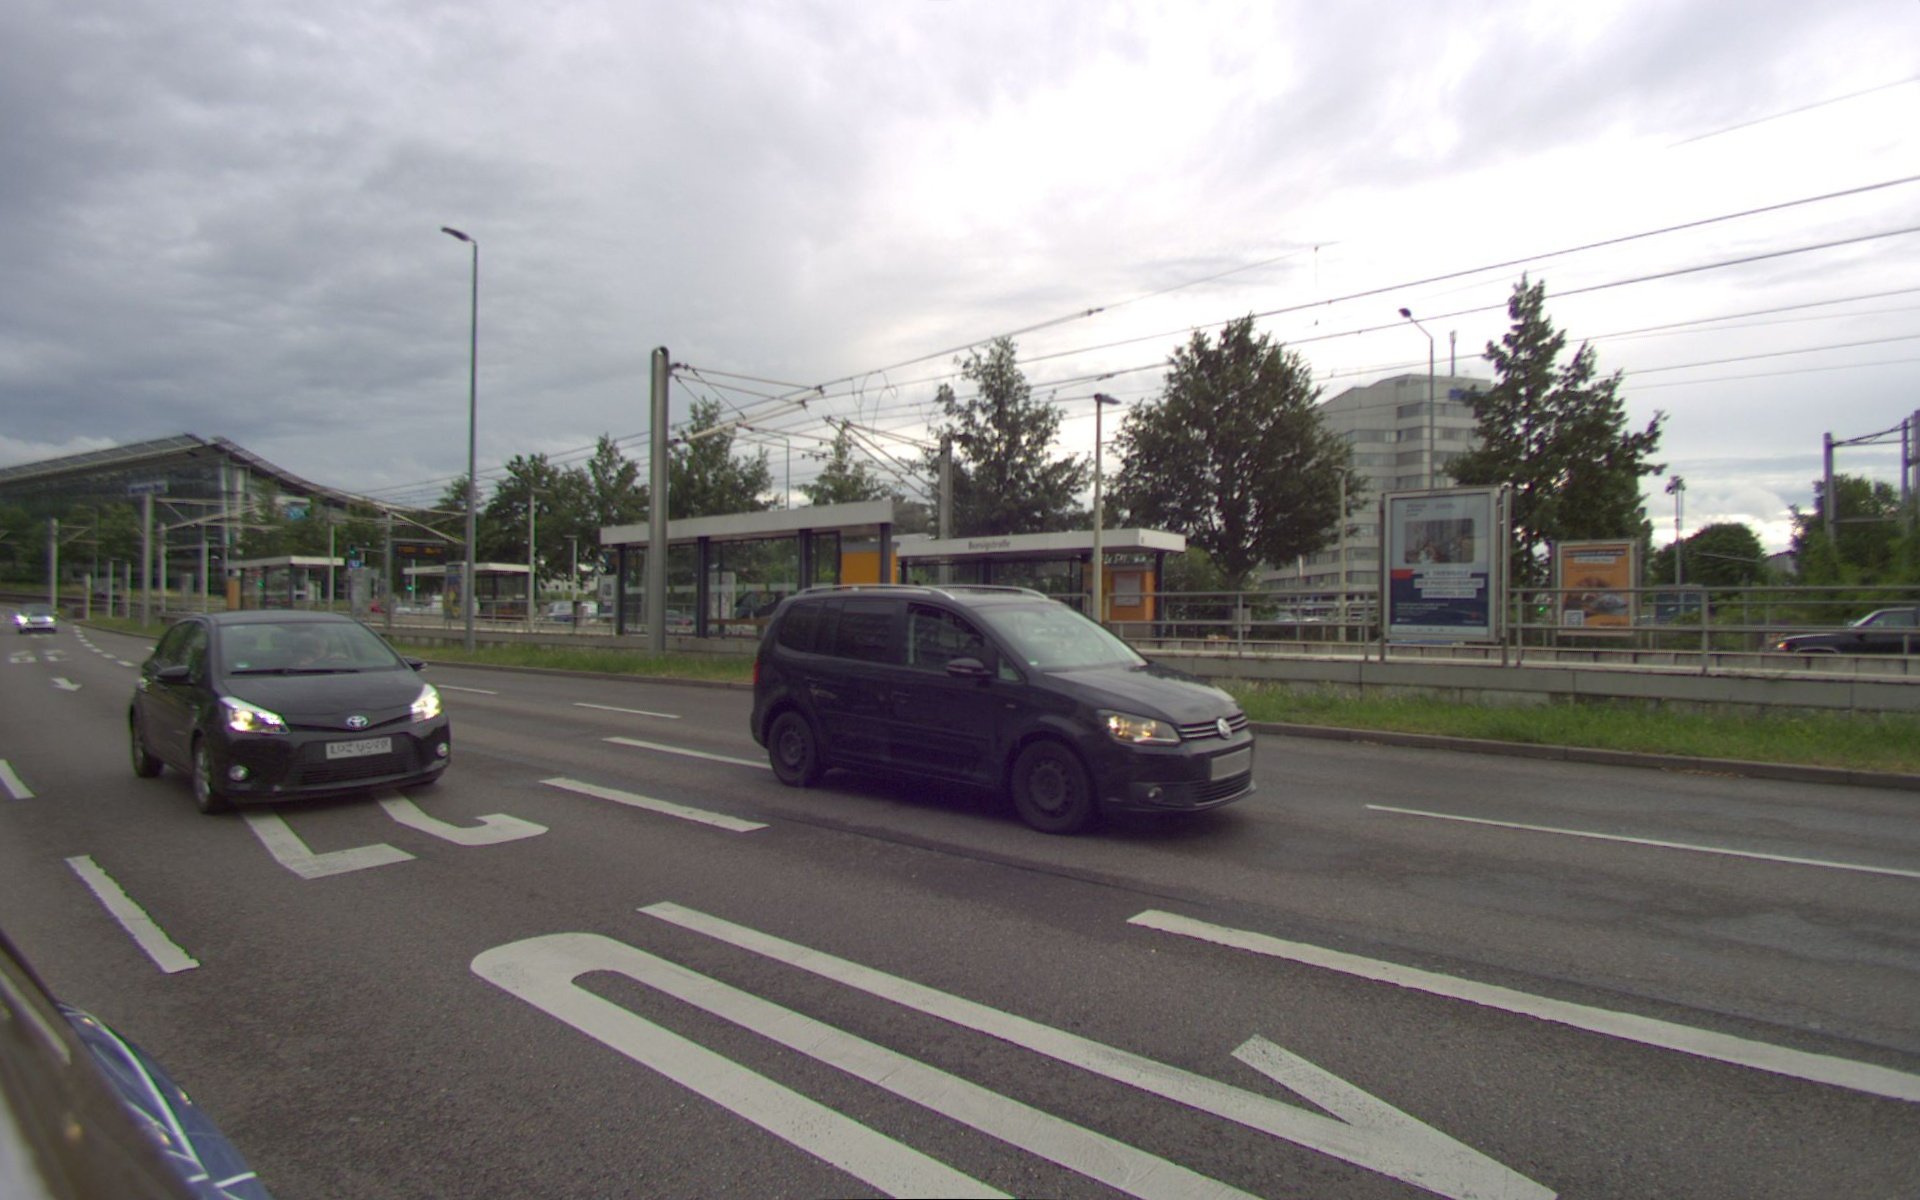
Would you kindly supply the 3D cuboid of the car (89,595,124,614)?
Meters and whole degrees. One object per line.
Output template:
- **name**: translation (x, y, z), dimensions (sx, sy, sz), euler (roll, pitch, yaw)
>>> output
- **car**: translation (-89.969, 0.465, 106.674), dimensions (3.995, 1.861, 1.975), euler (0, 1, 38)

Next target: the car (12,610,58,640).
- **car**: translation (-49.168, 1.321, 53.766), dimensions (1.715, 1.489, 4.003), euler (-1, 0, -44)

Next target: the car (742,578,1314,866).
- **car**: translation (0.304, 0.682, 7.715), dimensions (4.192, 1.604, 1.708), euler (0, 1, 42)

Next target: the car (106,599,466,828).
- **car**: translation (-5.937, 0.819, 8.732), dimensions (3.903, 1.534, 1.675), euler (-2, -2, 42)

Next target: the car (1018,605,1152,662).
- **car**: translation (4.057, 1.036, 33.261), dimensions (4.266, 1.679, 1.512), euler (0, 1, 41)

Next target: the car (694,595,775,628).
- **car**: translation (-12.625, 0.609, 56.468), dimensions (4.665, 1.712, 2.082), euler (0, 1, 42)

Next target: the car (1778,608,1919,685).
- **car**: translation (20.426, 0.981, 21.327), dimensions (4.929, 1.509, 1.660), euler (0, 1, 41)

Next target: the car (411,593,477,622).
- **car**: translation (-33.489, 0.447, 65.668), dimensions (5.026, 1.744, 1.974), euler (0, 1, 40)

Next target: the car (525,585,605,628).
- **car**: translation (-21.811, 0.305, 55.815), dimensions (5.142, 2.231, 1.972), euler (0, 1, 42)
